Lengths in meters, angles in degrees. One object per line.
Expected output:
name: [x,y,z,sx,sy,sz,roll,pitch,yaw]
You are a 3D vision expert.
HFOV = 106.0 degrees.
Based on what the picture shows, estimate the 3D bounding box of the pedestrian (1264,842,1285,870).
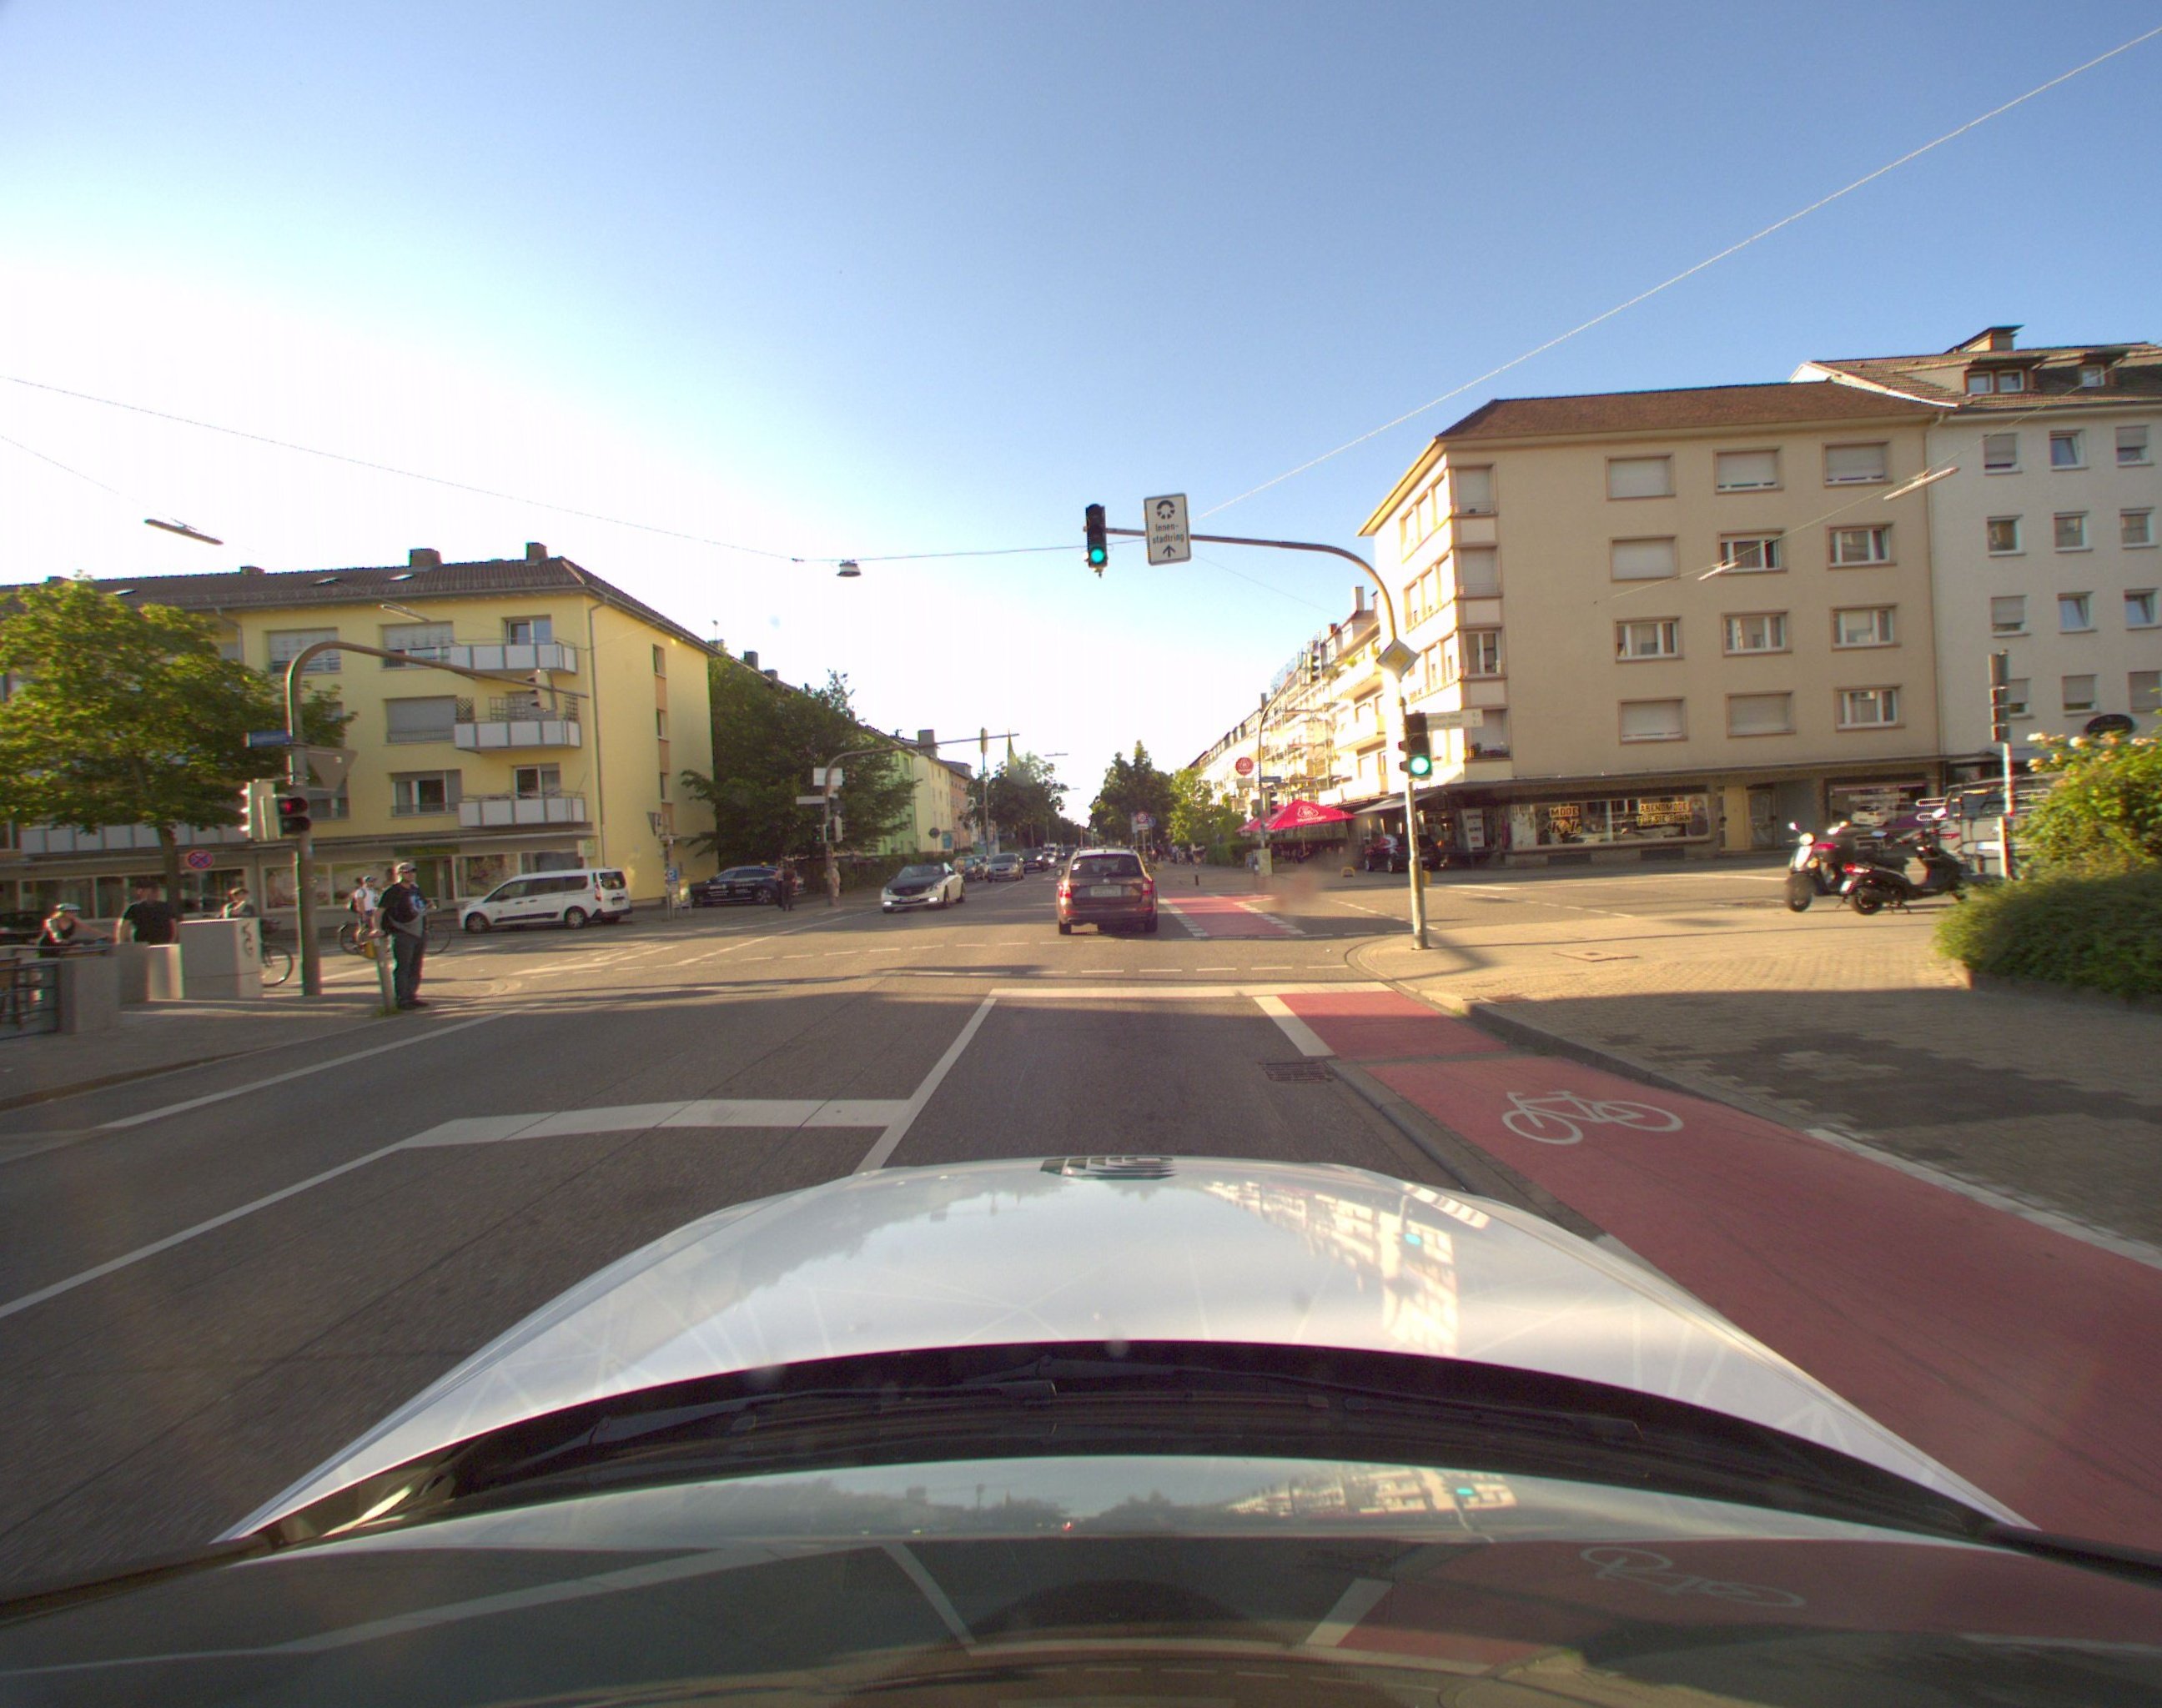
pedestrian: [8.520,0.092,35.877,0.675,1.198,0.856,-3,0,2]

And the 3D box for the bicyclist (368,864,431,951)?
bicyclist: [-14.995,1.156,17.928,0.738,1.823,0.652,-3,0,-8]

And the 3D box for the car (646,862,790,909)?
car: [-13.817,1.189,31.196,4.618,1.535,1.862,-2,0,0]

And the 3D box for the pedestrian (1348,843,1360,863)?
pedestrian: [13.570,-0.045,40.526,0.370,0.996,0.522,-3,0,1]

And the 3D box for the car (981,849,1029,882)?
car: [-4.037,0.565,43.919,1.986,1.610,4.002,-3,0,2]

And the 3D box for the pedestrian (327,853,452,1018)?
pedestrian: [-8.850,1.003,10.461,0.777,1.987,0.821,-3,0,2]

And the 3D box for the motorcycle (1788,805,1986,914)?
motorcycle: [11.136,0.077,11.310,1.904,1.361,0.695,-3,0,5]

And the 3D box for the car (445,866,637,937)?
car: [-16.627,1.433,25.236,4.618,1.811,1.862,-3,0,0]

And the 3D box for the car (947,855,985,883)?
car: [-6.658,0.844,47.353,1.517,1.457,3.586,-3,0,1]

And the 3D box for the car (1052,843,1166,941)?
car: [0.478,0.587,15.047,1.767,1.489,4.311,-2,0,1]

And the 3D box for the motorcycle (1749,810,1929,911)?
motorcycle: [11.309,0.099,12.199,1.904,1.361,0.695,-3,0,5]

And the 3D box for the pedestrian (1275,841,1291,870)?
pedestrian: [9.159,0.060,36.922,0.498,1.302,0.507,-3,0,-2]

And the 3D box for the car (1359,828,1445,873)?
car: [12.141,-0.139,31.050,1.769,1.486,4.002,-3,0,2]

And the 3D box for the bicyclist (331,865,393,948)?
bicyclist: [-16.383,1.181,18.582,0.738,1.823,0.652,-3,0,-8]

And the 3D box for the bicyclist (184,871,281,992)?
bicyclist: [-14.966,1.332,14.395,0.723,2.013,0.843,-3,0,-2]

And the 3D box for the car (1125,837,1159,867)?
car: [3.830,-0.125,51.281,1.984,1.772,4.005,-1,0,4]

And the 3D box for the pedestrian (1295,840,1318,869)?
pedestrian: [10.008,0.019,36.153,0.726,1.198,0.856,-3,0,2]

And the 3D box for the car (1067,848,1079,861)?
car: [-1.405,0.046,152.194,1.986,2.327,4.001,-3,0,1]

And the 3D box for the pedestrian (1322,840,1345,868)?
pedestrian: [11.267,-0.008,36.306,0.726,1.198,0.856,-3,0,2]

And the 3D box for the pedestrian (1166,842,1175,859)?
pedestrian: [8.062,-0.322,73.357,0.578,1.563,0.518,-3,0,-8]

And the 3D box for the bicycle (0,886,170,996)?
bicycle: [-17.233,1.480,14.111,1.914,1.706,0.757,-3,0,-2]

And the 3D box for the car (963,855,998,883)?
car: [-6.498,0.934,52.965,1.554,1.618,4.002,-3,0,2]

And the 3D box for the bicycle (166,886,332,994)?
bicycle: [-14.679,1.494,14.404,2.017,1.706,0.757,-3,0,-2]

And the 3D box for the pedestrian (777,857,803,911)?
pedestrian: [-9.964,1.014,27.900,0.613,1.797,0.504,-3,0,1]

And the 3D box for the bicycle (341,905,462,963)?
bicycle: [-14.942,1.740,17.940,1.899,1.071,0.717,-3,0,-8]

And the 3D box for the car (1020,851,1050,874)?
car: [-3.265,0.586,58.860,1.781,1.571,4.002,-1,0,2]

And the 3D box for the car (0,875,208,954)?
car: [-29.489,1.774,24.585,3.973,2.013,2.000,-3,0,1]

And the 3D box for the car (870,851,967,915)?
car: [-4.632,0.776,23.796,1.824,1.579,4.001,-3,0,1]

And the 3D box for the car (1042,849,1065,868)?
car: [-2.423,0.417,72.696,1.697,1.550,4.004,-3,0,2]

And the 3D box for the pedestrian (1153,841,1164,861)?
pedestrian: [6.940,-0.263,73.059,0.668,1.704,0.806,-3,0,28]

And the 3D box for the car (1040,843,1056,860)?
car: [-5.008,-0.401,123.895,1.986,2.477,4.001,-3,0,1]

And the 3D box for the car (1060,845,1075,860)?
car: [-1.916,-0.213,116.798,1.986,2.013,4.002,-3,0,2]

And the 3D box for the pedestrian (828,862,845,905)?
pedestrian: [-8.860,1.069,29.514,0.299,1.504,0.641,-3,0,2]

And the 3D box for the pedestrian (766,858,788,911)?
pedestrian: [-10.627,1.047,28.465,0.448,1.797,0.504,-3,0,2]

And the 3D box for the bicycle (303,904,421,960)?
bicycle: [-16.371,1.766,18.585,1.899,1.071,0.717,-3,0,-8]

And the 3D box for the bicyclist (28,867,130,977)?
bicyclist: [-17.335,1.160,14.102,0.783,1.799,0.709,-3,0,-1]

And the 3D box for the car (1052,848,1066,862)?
car: [-3.706,0.157,138.445,1.986,2.327,4.001,-3,0,1]

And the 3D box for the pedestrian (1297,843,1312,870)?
pedestrian: [10.162,0.102,36.987,0.503,1.176,0.428,-3,0,1]

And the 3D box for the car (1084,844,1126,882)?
car: [1.097,0.372,36.597,1.730,1.571,4.002,-1,0,2]

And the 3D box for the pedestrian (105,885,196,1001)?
pedestrian: [-14.317,1.349,12.543,0.578,1.675,0.641,-3,0,-8]

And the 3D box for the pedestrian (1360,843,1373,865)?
pedestrian: [13.648,-0.007,38.921,0.370,0.996,0.522,-3,0,1]
